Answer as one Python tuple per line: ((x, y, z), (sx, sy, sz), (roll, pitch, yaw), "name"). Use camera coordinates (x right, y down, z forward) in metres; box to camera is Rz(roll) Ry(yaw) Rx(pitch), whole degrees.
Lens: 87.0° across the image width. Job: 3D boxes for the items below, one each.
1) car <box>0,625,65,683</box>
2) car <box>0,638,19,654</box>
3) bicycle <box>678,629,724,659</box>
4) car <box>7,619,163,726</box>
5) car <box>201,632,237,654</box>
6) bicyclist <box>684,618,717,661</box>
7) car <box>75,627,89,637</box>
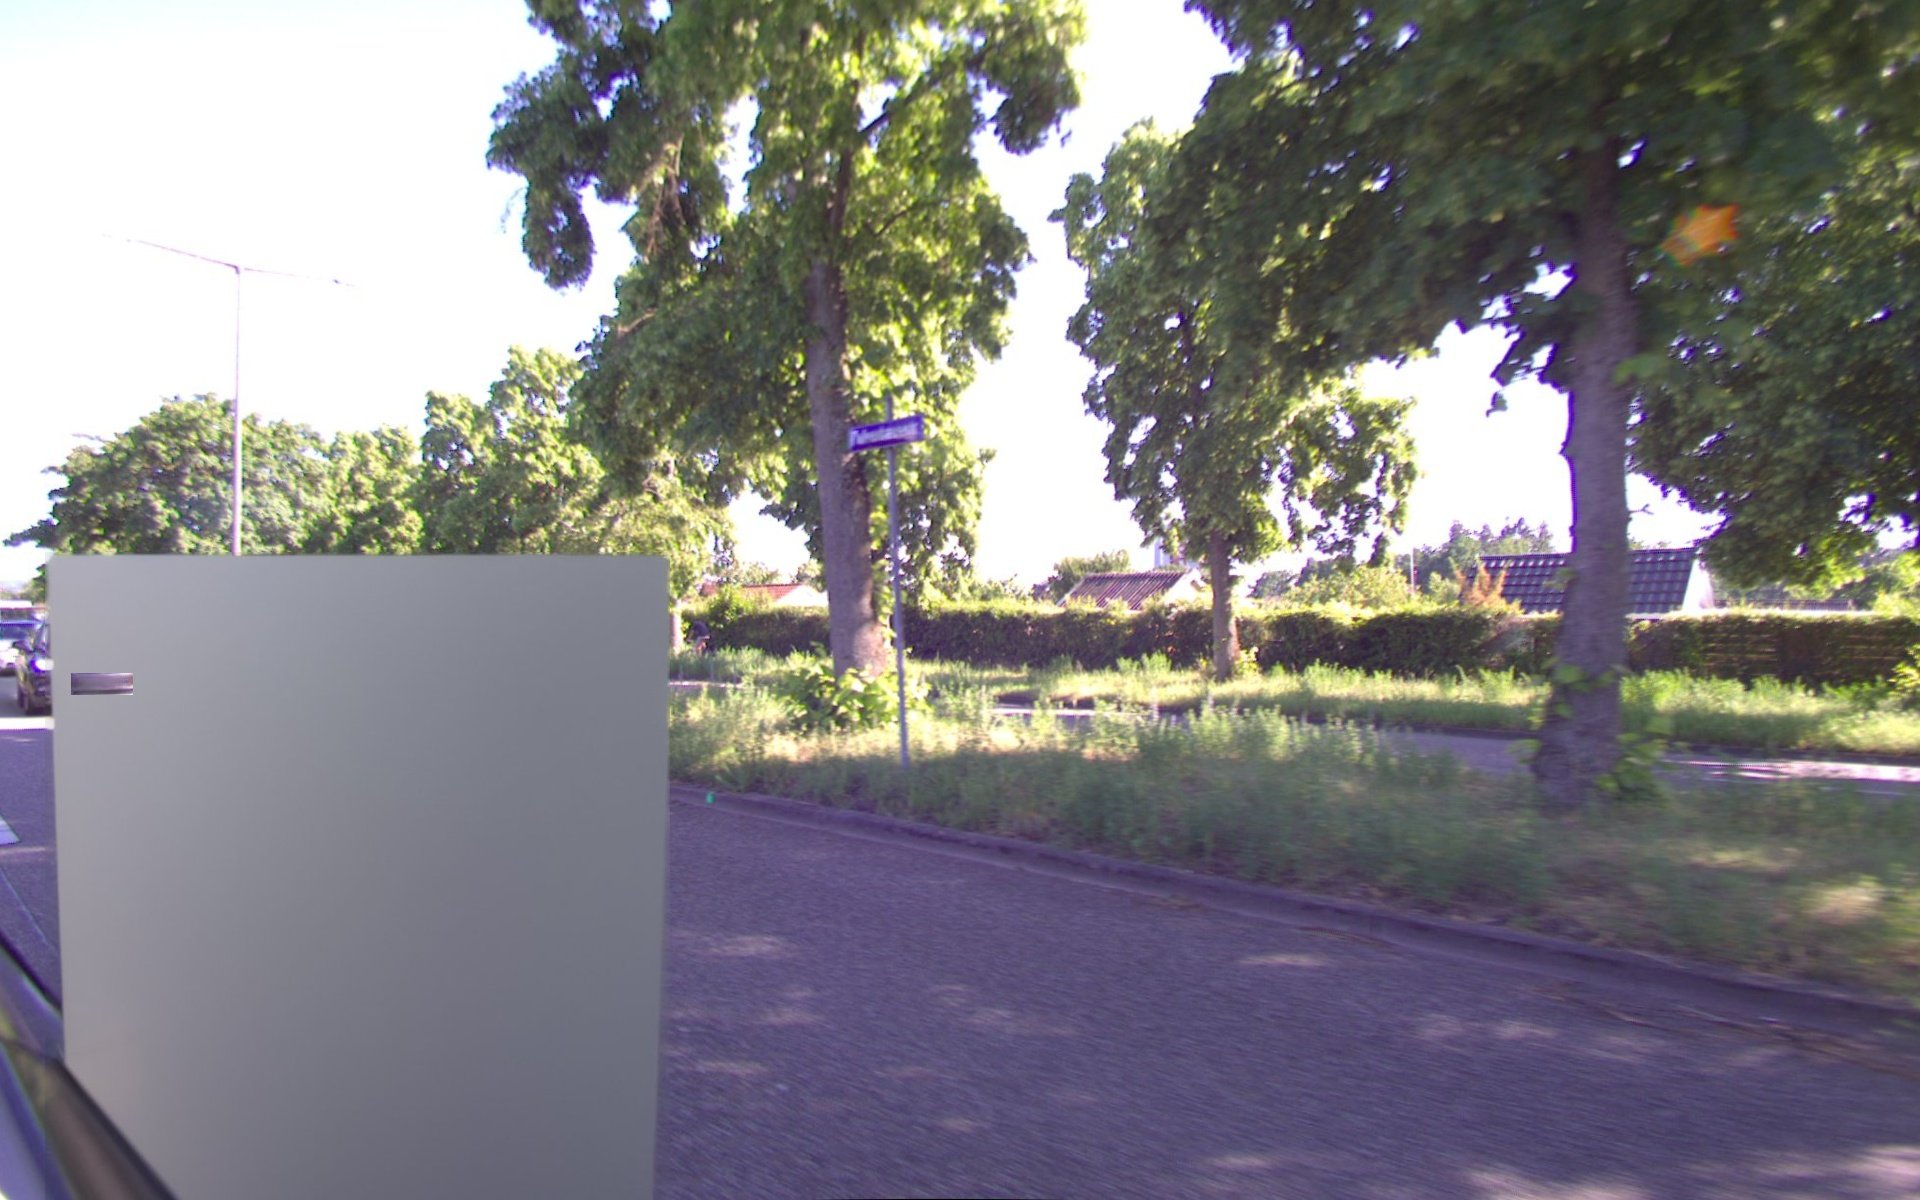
((-27.745, 1.553, 29.901), (1.797, 1.574, 4.650), (0, -1, -43), "car")
((-109.424, 5.261, 115.973), (3.999, 1.697, 1.972), (-2, -2, 42), "car")
((-8.877, 1.483, 34.658), (1.842, 1.004, 0.682), (-2, -2, 44), "bicycle")
((-15.442, 1.152, 17.768), (1.785, 1.627, 4.518), (1, -1, -44), "car")
((-60.147, 3.443, 82.081), (1.915, 1.669, 4.004), (-1, 0, -42), "car")
((-8.906, 1.348, 34.706), (1.000, 1.432, 0.682), (-2, -2, 44), "bicyclist")
((-156.203, 5.662, 180.120), (3.574, 1.818, 1.608), (-2, -2, 45), "car")
